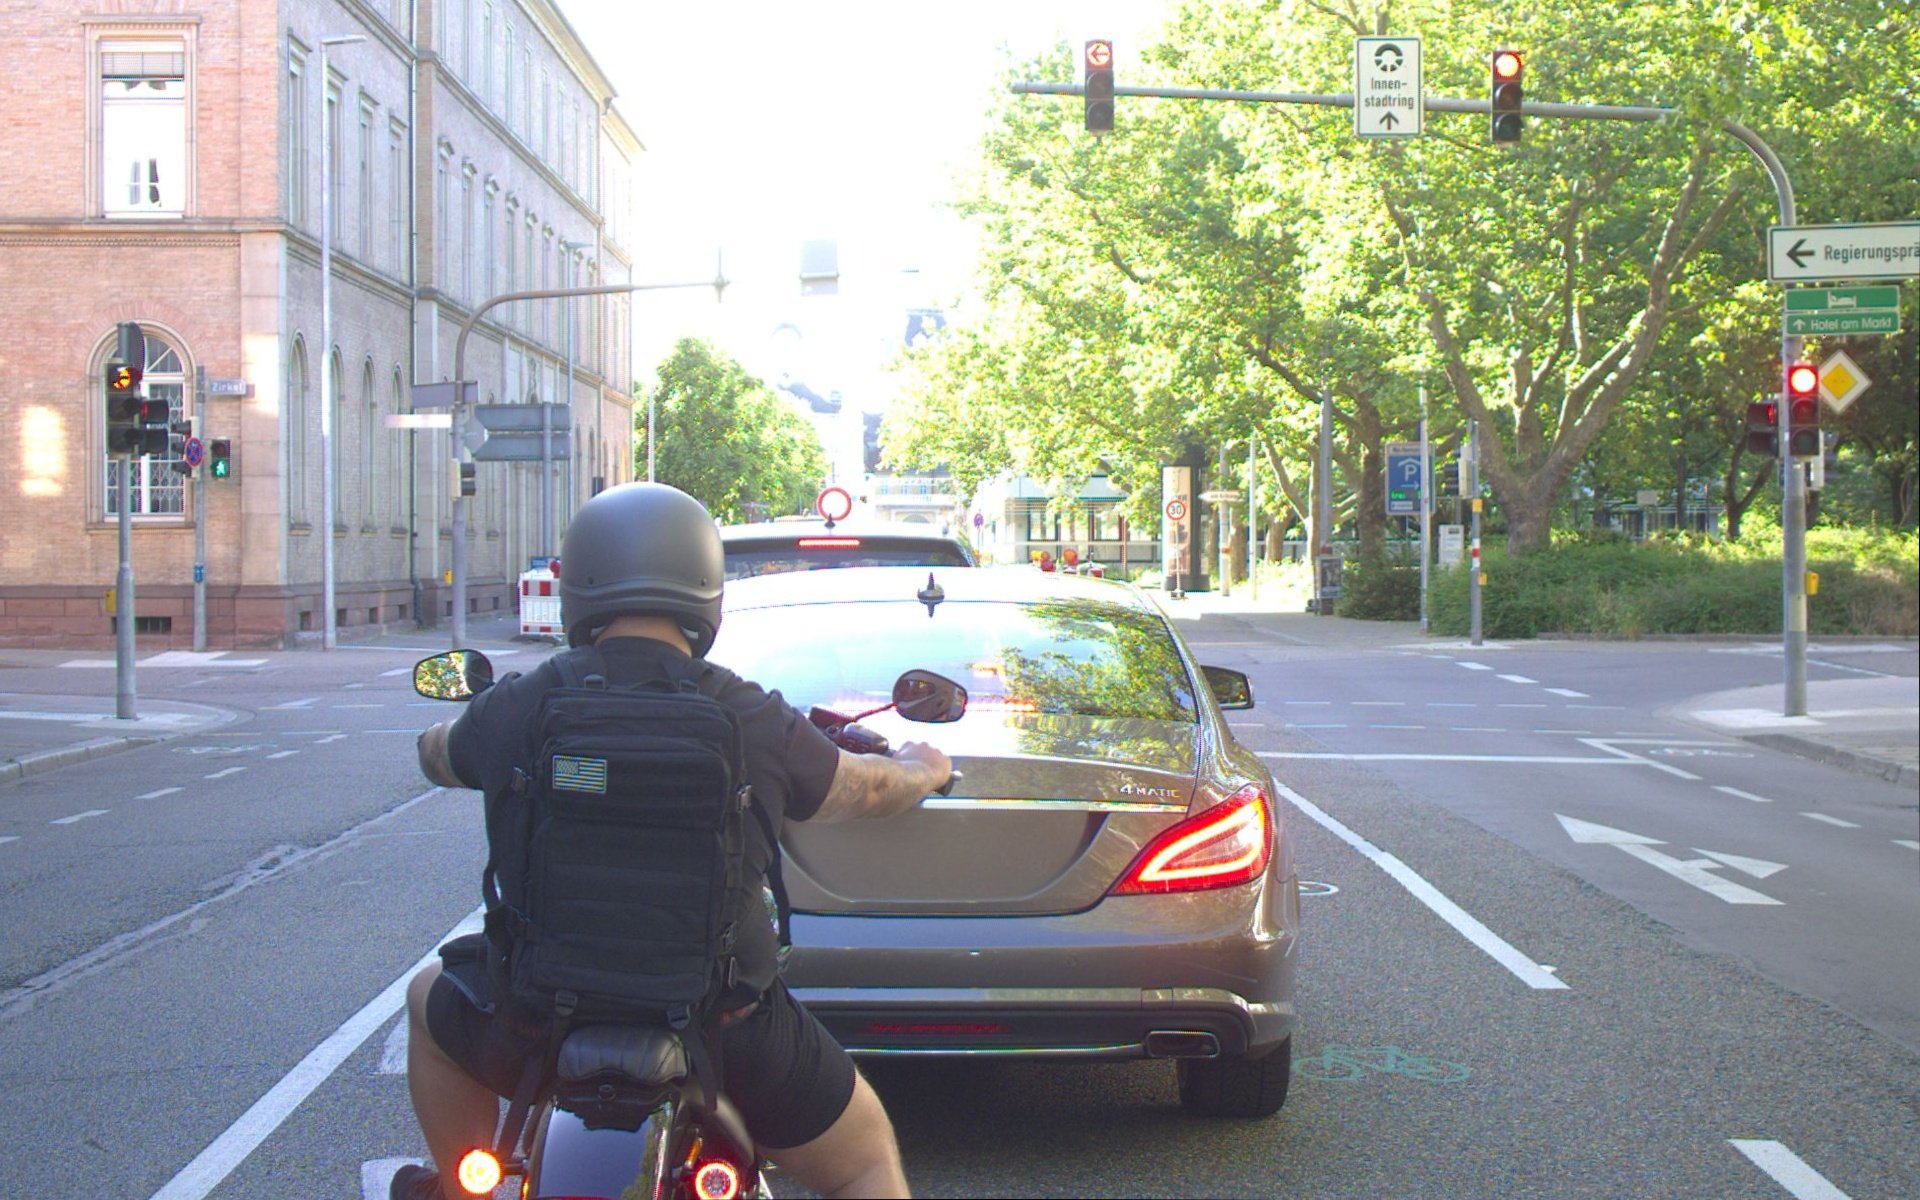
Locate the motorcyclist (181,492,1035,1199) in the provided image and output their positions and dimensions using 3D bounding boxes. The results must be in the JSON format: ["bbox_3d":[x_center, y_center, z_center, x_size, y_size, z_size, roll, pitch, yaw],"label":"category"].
[{"bbox_3d":[-0.486,0.632,5.281,1.099,1.560,1.071,1,0,6],"label":"motorcyclist"}]

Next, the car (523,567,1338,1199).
[{"bbox_3d":[-0.088,0.638,9.669,1.822,1.432,3.806,1,1,-1],"label":"car"}]

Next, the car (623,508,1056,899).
[{"bbox_3d":[-0.546,0.430,16.947,1.863,1.672,4.000,1,1,-1],"label":"car"}]

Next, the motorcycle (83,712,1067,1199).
[{"bbox_3d":[-0.472,0.836,5.505,1.118,1.203,2.212,1,1,6],"label":"motorcycle"}]
